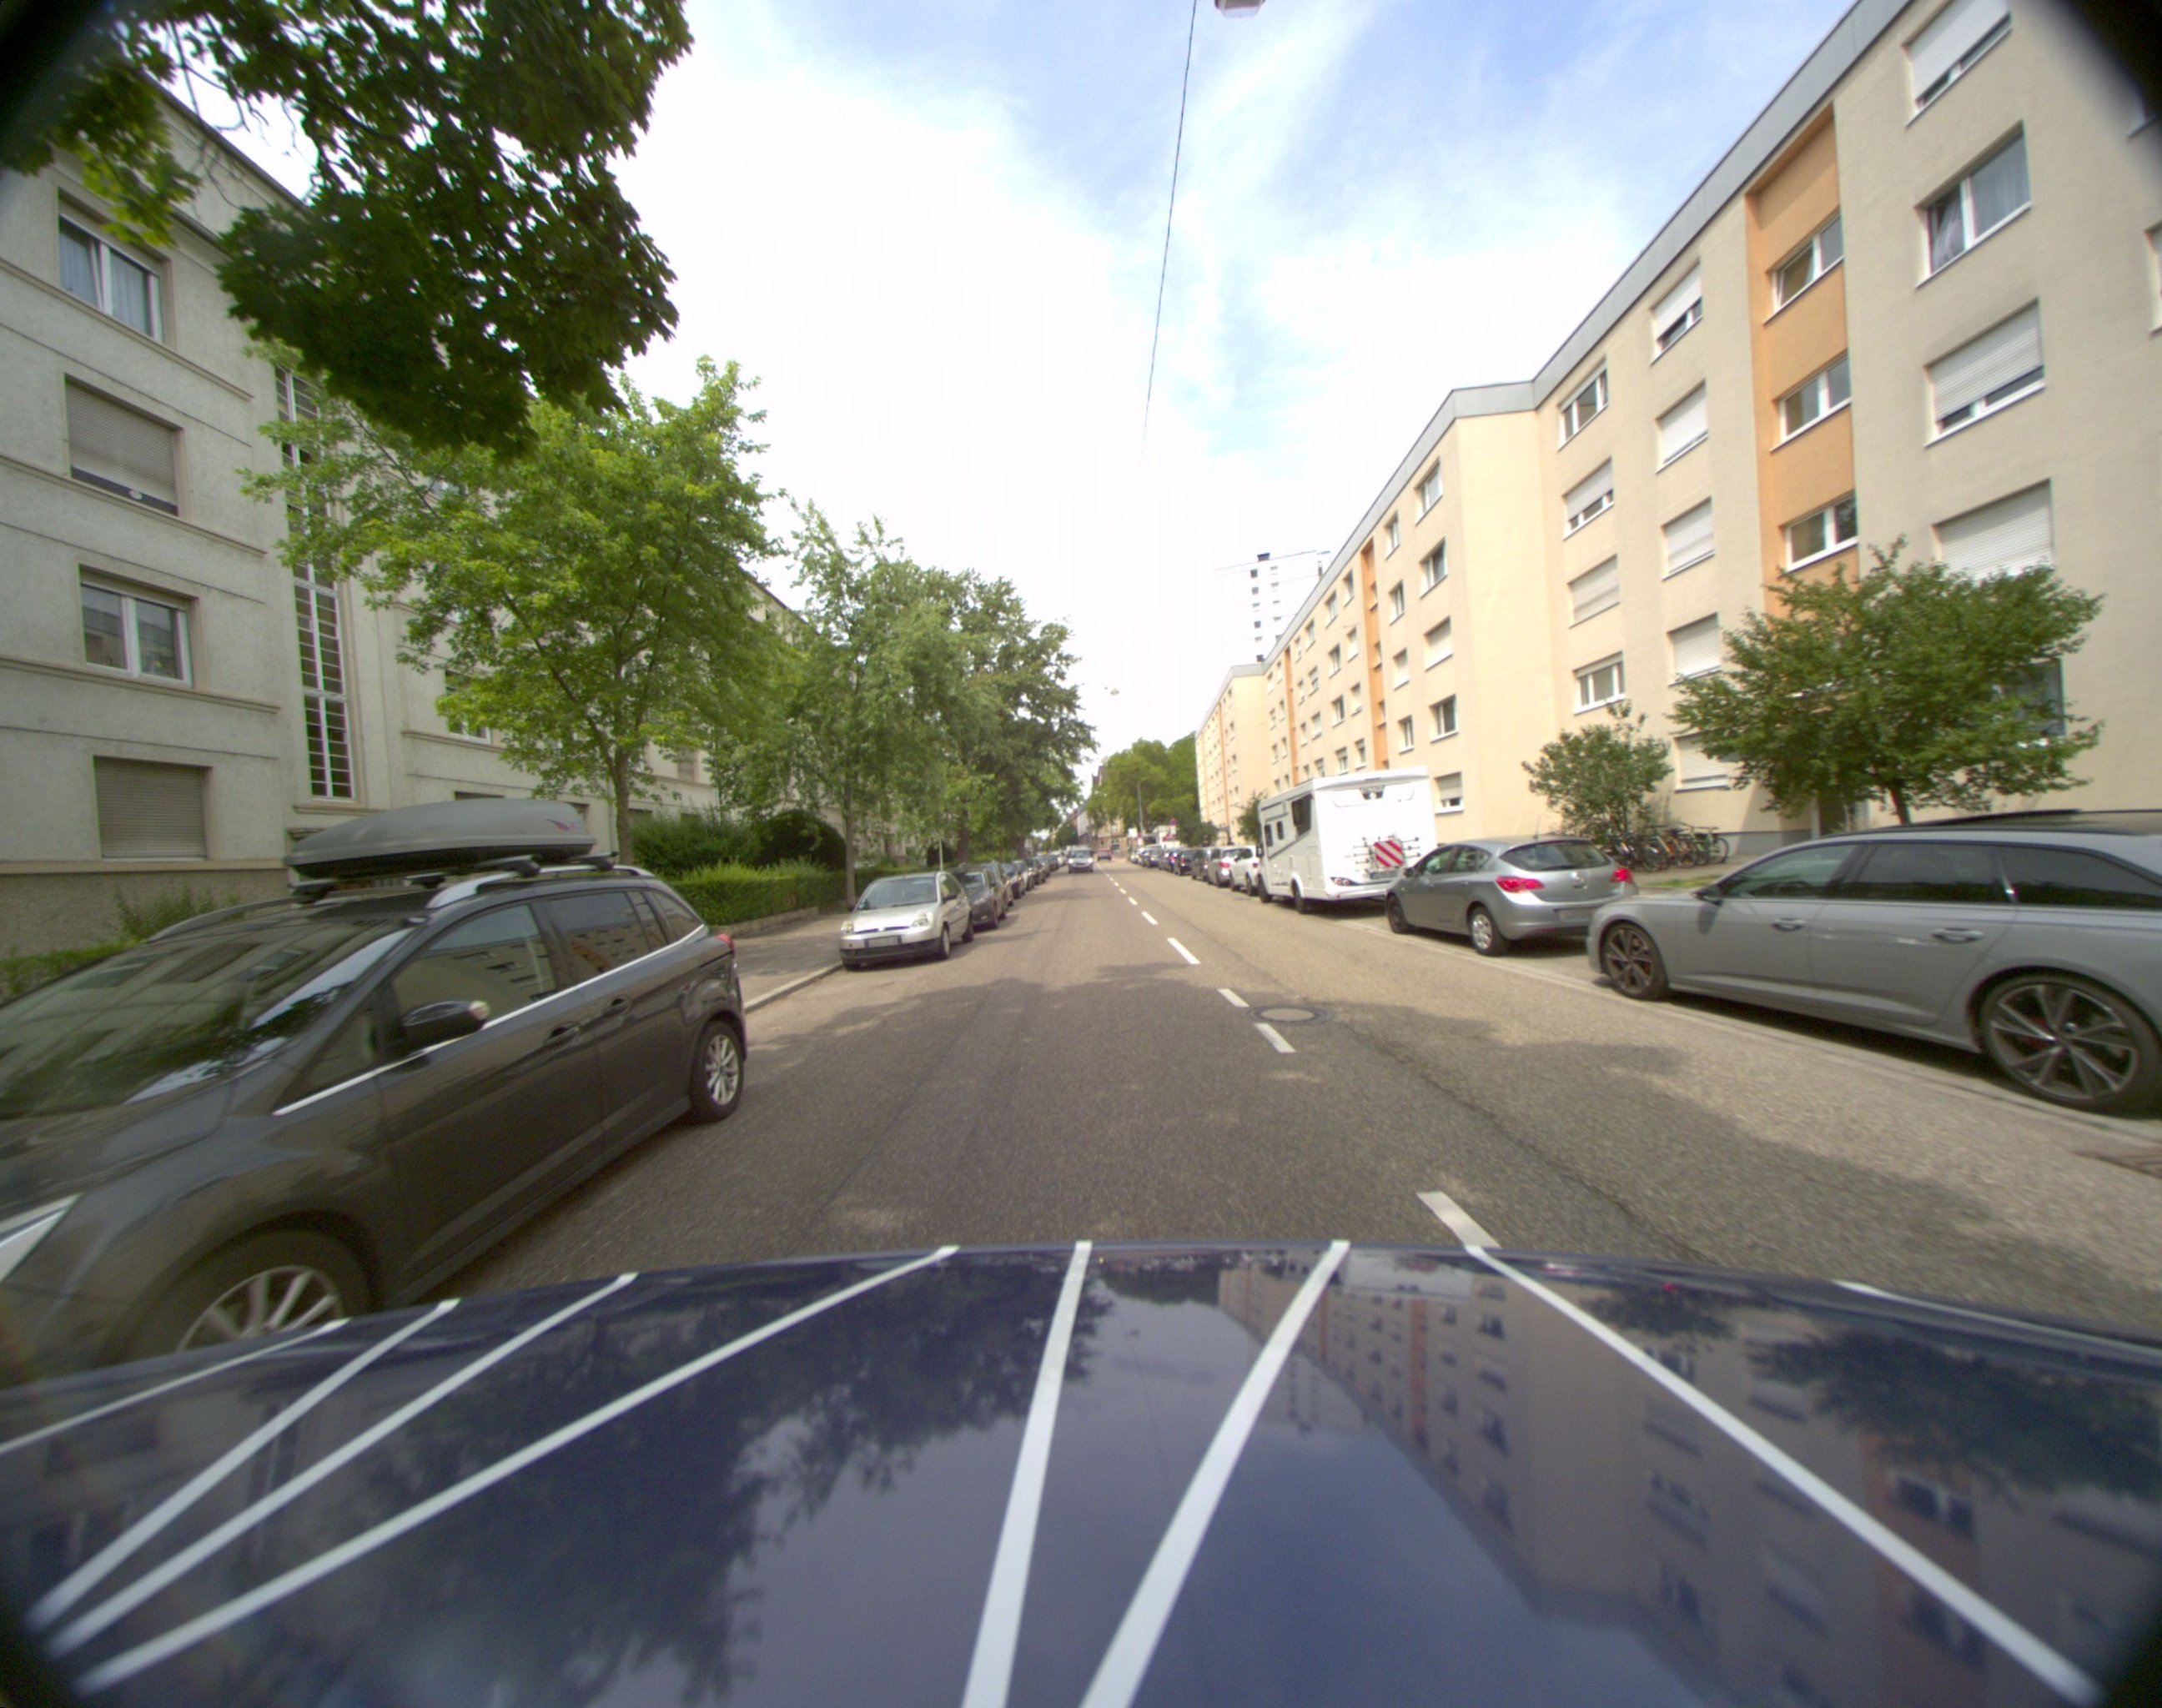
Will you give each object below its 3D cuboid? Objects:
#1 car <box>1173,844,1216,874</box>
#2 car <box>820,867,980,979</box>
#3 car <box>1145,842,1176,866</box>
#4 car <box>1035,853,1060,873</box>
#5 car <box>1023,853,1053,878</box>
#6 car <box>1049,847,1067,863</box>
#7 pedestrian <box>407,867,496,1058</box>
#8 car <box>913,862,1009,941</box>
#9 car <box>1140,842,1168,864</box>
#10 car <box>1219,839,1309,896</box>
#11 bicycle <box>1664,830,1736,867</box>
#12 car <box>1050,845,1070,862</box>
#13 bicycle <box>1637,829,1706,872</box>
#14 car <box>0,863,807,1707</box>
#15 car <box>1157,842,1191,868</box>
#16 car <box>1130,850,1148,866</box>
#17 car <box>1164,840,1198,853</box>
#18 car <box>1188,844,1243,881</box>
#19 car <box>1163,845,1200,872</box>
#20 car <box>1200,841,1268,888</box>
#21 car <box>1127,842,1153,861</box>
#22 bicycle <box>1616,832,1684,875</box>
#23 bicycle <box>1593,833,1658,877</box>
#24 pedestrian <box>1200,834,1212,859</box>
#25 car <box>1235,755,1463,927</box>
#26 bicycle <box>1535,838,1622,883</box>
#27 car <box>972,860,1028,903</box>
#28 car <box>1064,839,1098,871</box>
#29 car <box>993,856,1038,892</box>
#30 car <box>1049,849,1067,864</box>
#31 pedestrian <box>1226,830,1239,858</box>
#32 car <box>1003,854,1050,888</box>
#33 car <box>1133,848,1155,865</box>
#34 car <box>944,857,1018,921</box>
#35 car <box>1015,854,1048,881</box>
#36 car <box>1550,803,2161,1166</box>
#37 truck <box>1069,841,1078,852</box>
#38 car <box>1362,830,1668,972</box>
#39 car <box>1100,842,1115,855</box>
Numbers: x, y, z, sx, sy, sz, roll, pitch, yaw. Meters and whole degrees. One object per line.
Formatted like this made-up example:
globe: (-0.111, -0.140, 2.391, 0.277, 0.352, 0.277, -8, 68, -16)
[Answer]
car: (6.245, 0.235, 42.178, 1.822, 1.475, 4.116, -5, 1, 2)
car: (-2.980, 1.071, 13.388, 1.663, 1.448, 4.035, -5, 1, 1)
car: (6.184, -0.031, 59.686, 1.947, 1.603, 4.301, -5, 1, 1)
car: (-2.798, 0.735, 64.510, 1.701, 1.461, 4.559, -5, 1, 1)
car: (-2.859, 0.737, 51.318, 1.701, 1.461, 4.717, -5, 1, 0)
car: (-2.564, 0.098, 84.637, 1.608, 1.598, 3.804, -5, 1, 2)
pedestrian: (-6.323, 1.050, 7.660, 0.524, 1.817, 0.523, -3, 1, -30)
car: (-2.718, 1.024, 18.150, 1.621, 1.461, 4.390, -5, 1, -2)
car: (6.137, -0.127, 64.564, 1.947, 1.603, 4.861, -5, 1, 2)
car: (5.818, 0.378, 24.674, 1.693, 1.570, 4.593, -5, 1, 0)
bicycle: (14.820, -0.118, 18.238, 0.397, 0.820, 1.685, -3, 0, 4)
car: (-2.496, -0.088, 89.545, 1.922, 1.855, 4.846, -5, 1, 2)
bicycle: (14.106, -0.074, 18.202, 0.397, 0.973, 1.685, -3, 0, 4)
car: (-3.251, 1.014, 3.611, 1.932, 1.652, 5.323, -6, 1, -2)
car: (6.343, 0.053, 52.093, 1.674, 1.553, 3.851, -5, 1, 0)
car: (6.163, 0.391, 80.867, 1.712, 1.464, 3.989, -5, 1, 2)
car: (13.983, -1.073, 106.481, 4.640, 1.676, 1.850, -2, 1, 7)
car: (6.141, 0.380, 35.109, 1.727, 1.530, 4.004, -3, 0, -1)
car: (6.209, 0.228, 47.173, 1.822, 1.475, 3.885, -5, 1, 2)
car: (5.928, 0.350, 29.976, 1.759, 1.570, 4.568, -5, 1, 1)
car: (5.417, -0.244, 70.511, 1.702, 1.603, 4.475, -5, 1, -4)
bicycle: (13.624, -0.006, 18.245, 0.397, 0.973, 1.685, -3, 0, 4)
bicycle: (13.053, 0.024, 18.264, 0.397, 0.973, 1.678, -3, 0, 4)
pedestrian: (9.633, -0.576, 58.387, 0.621, 1.802, 0.899, -4, 1, -2)
car: (5.738, -0.275, 17.830, 2.517, 3.006, 7.395, -5, 1, 0)
bicycle: (11.779, 0.147, 18.093, 0.454, 0.974, 2.446, -3, 0, 1)
car: (-3.035, 0.997, 29.247, 1.663, 1.460, 3.889, -3, 0, 0)
car: (-0.055, 0.077, 54.654, 2.082, 2.039, 4.679, -3, 0, -3)
car: (-2.942, 0.882, 34.821, 1.663, 1.460, 3.725, -3, 0, 0)
car: (-2.419, 0.245, 79.869, 1.702, 1.441, 4.100, -4, 1, -1)
pedestrian: (10.066, -0.643, 50.588, 0.621, 1.802, 0.803, -3, 1, -2)
car: (-2.837, 0.860, 40.490, 1.784, 1.461, 4.615, -5, 1, 3)
car: (6.249, 0.226, 75.908, 1.713, 1.464, 3.988, -5, 1, -1)
car: (-2.978, 0.986, 23.383, 1.663, 1.574, 4.285, -6, 1, -2)
car: (-2.954, 0.763, 46.084, 1.674, 1.392, 3.851, -6, 1, 0)
car: (5.750, 0.542, 5.052, 1.891, 1.570, 5.218, -5, 1, -1)
truck: (-2.171, -2.099, 219.741, 2.548, 3.089, 7.018, -1, 1, -2)
car: (5.796, 0.522, 10.950, 1.693, 1.487, 4.593, -5, 1, 0)
car: (3.544, -0.751, 103.978, 1.823, 1.576, 4.435, -2, 1, 0)
